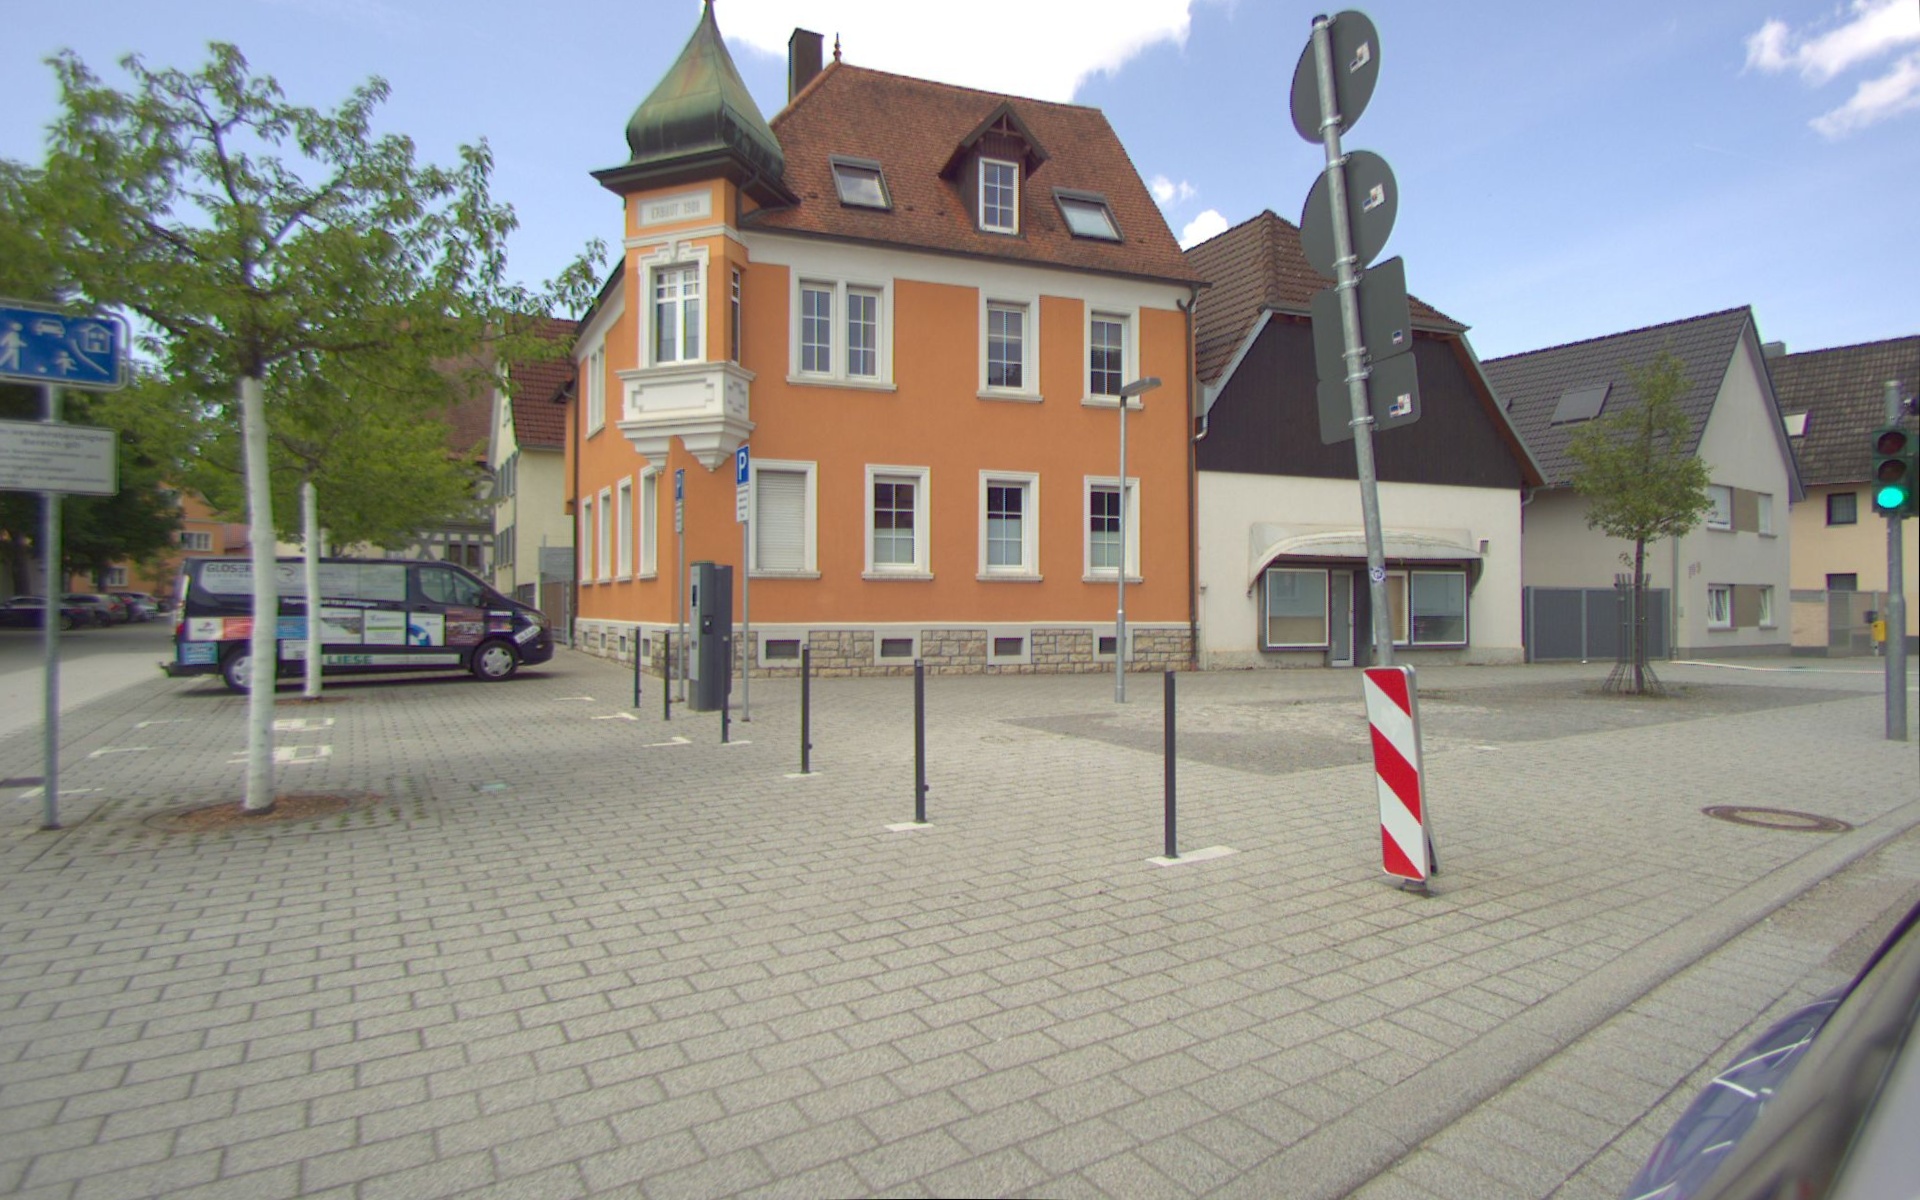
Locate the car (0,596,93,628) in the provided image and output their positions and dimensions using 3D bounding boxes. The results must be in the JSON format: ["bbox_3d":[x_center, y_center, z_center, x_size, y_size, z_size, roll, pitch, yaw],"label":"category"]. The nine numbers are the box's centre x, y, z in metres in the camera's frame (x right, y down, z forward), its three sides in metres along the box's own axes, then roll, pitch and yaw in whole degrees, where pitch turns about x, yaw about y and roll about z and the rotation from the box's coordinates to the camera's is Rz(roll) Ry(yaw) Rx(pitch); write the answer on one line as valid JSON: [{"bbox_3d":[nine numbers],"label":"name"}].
[{"bbox_3d":[-36.946,0.483,40.035,3.778,1.245,1.731,1,-1,-33],"label":"car"}]

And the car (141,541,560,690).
[{"bbox_3d":[-9.413,0.241,16.103,5.387,2.039,2.001,1,-1,-32],"label":"car"}]

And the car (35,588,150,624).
[{"bbox_3d":[-41.188,0.298,48.172,3.923,1.679,2.000,1,-1,-34],"label":"car"}]

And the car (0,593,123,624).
[{"bbox_3d":[-37.882,0.365,42.693,3.778,1.245,1.731,1,-1,-33],"label":"car"}]

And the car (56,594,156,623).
[{"bbox_3d":[-46.066,0.450,54.711,3.923,1.523,2.000,1,-1,-34],"label":"car"}]
